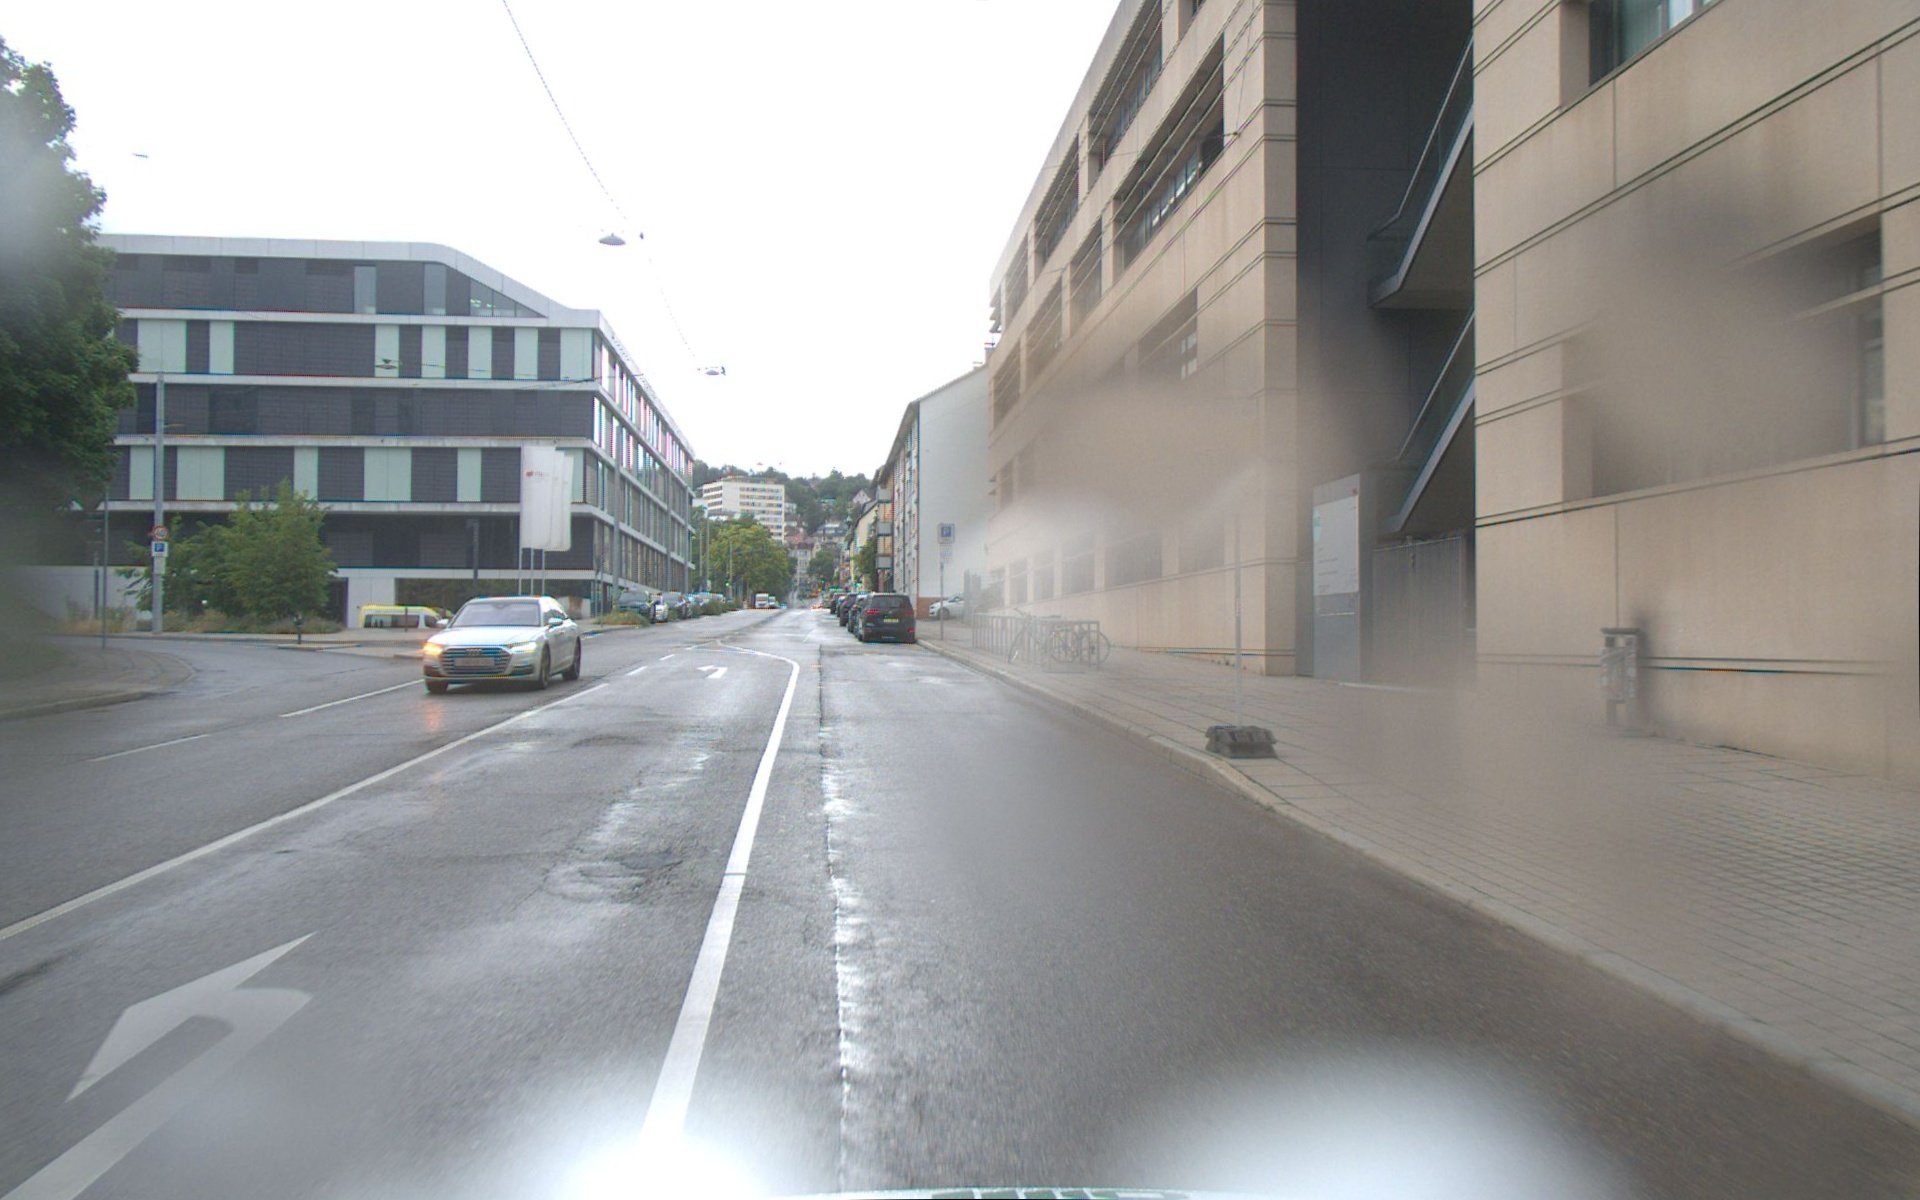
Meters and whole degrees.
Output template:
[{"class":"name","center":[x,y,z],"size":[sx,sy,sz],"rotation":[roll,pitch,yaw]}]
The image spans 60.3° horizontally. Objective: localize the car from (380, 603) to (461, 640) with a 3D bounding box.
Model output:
[{"class":"car","center":[-31.948,1.271,98.005],"size":[4.258,2.068,1.596],"rotation":[1,-1,-6]}]

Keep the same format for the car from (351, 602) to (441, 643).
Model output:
[{"class":"car","center":[-31.986,1.279,93.909],"size":[4.508,2.212,1.926],"rotation":[1,-1,-11]}]

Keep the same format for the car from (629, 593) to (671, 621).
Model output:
[{"class":"car","center":[-16.792,0.376,89.725],"size":[1.785,1.443,4.397],"rotation":[1,0,-5]}]

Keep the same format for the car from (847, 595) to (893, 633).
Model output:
[{"class":"car","center":[-3.921,0.600,71.762],"size":[1.710,1.560,4.313],"rotation":[1,0,-6]}]

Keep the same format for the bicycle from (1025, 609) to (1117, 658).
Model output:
[{"class":"bicycle","center":[2.194,0.657,32.806],"size":[1.726,0.970,0.658],"rotation":[0,0,-9]}]

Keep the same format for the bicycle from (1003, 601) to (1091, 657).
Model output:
[{"class":"bicycle","center":[1.763,0.586,33.748],"size":[1.698,1.138,0.658],"rotation":[0,-1,-11]}]

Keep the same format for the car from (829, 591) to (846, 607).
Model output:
[{"class":"car","center":[-14.466,-0.115,194.953],"size":[1.829,1.801,4.187],"rotation":[1,0,-2]}]

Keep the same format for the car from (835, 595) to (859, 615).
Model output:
[{"class":"car","center":[-8.422,0.387,122.955],"size":[1.673,1.480,3.980],"rotation":[1,0,-5]}]

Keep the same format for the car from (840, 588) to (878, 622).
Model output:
[{"class":"car","center":[-5.469,0.276,88.907],"size":[1.898,1.781,4.791],"rotation":[1,0,-5]}]

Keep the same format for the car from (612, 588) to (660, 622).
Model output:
[{"class":"car","center":[-16.237,0.233,83.053],"size":[1.813,1.646,4.486],"rotation":[1,0,-5]}]

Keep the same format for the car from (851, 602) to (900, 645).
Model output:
[{"class":"car","center":[-3.333,0.915,64.517],"size":[1.692,1.539,4.052],"rotation":[2,-1,-6]}]

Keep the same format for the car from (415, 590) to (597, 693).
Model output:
[{"class":"car","center":[-7.630,0.630,28.314],"size":[1.844,1.517,5.217],"rotation":[-2,1,-3]}]

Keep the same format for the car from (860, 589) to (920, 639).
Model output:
[{"class":"car","center":[-2.425,0.470,56.273],"size":[1.737,1.632,4.388],"rotation":[1,0,-6]}]

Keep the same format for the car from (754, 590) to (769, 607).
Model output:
[{"class":"car","center":[-29.924,-0.213,249.299],"size":[2.065,2.591,4.743],"rotation":[1,0,-7]}]

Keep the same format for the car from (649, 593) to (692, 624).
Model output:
[{"class":"car","center":[-17.432,0.489,99.842],"size":[1.923,1.781,4.939],"rotation":[1,0,-3]}]

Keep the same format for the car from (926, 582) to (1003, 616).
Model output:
[{"class":"car","center":[0.249,-0.054,98.060],"size":[4.353,1.742,1.902],"rotation":[-3,0,-6]}]
